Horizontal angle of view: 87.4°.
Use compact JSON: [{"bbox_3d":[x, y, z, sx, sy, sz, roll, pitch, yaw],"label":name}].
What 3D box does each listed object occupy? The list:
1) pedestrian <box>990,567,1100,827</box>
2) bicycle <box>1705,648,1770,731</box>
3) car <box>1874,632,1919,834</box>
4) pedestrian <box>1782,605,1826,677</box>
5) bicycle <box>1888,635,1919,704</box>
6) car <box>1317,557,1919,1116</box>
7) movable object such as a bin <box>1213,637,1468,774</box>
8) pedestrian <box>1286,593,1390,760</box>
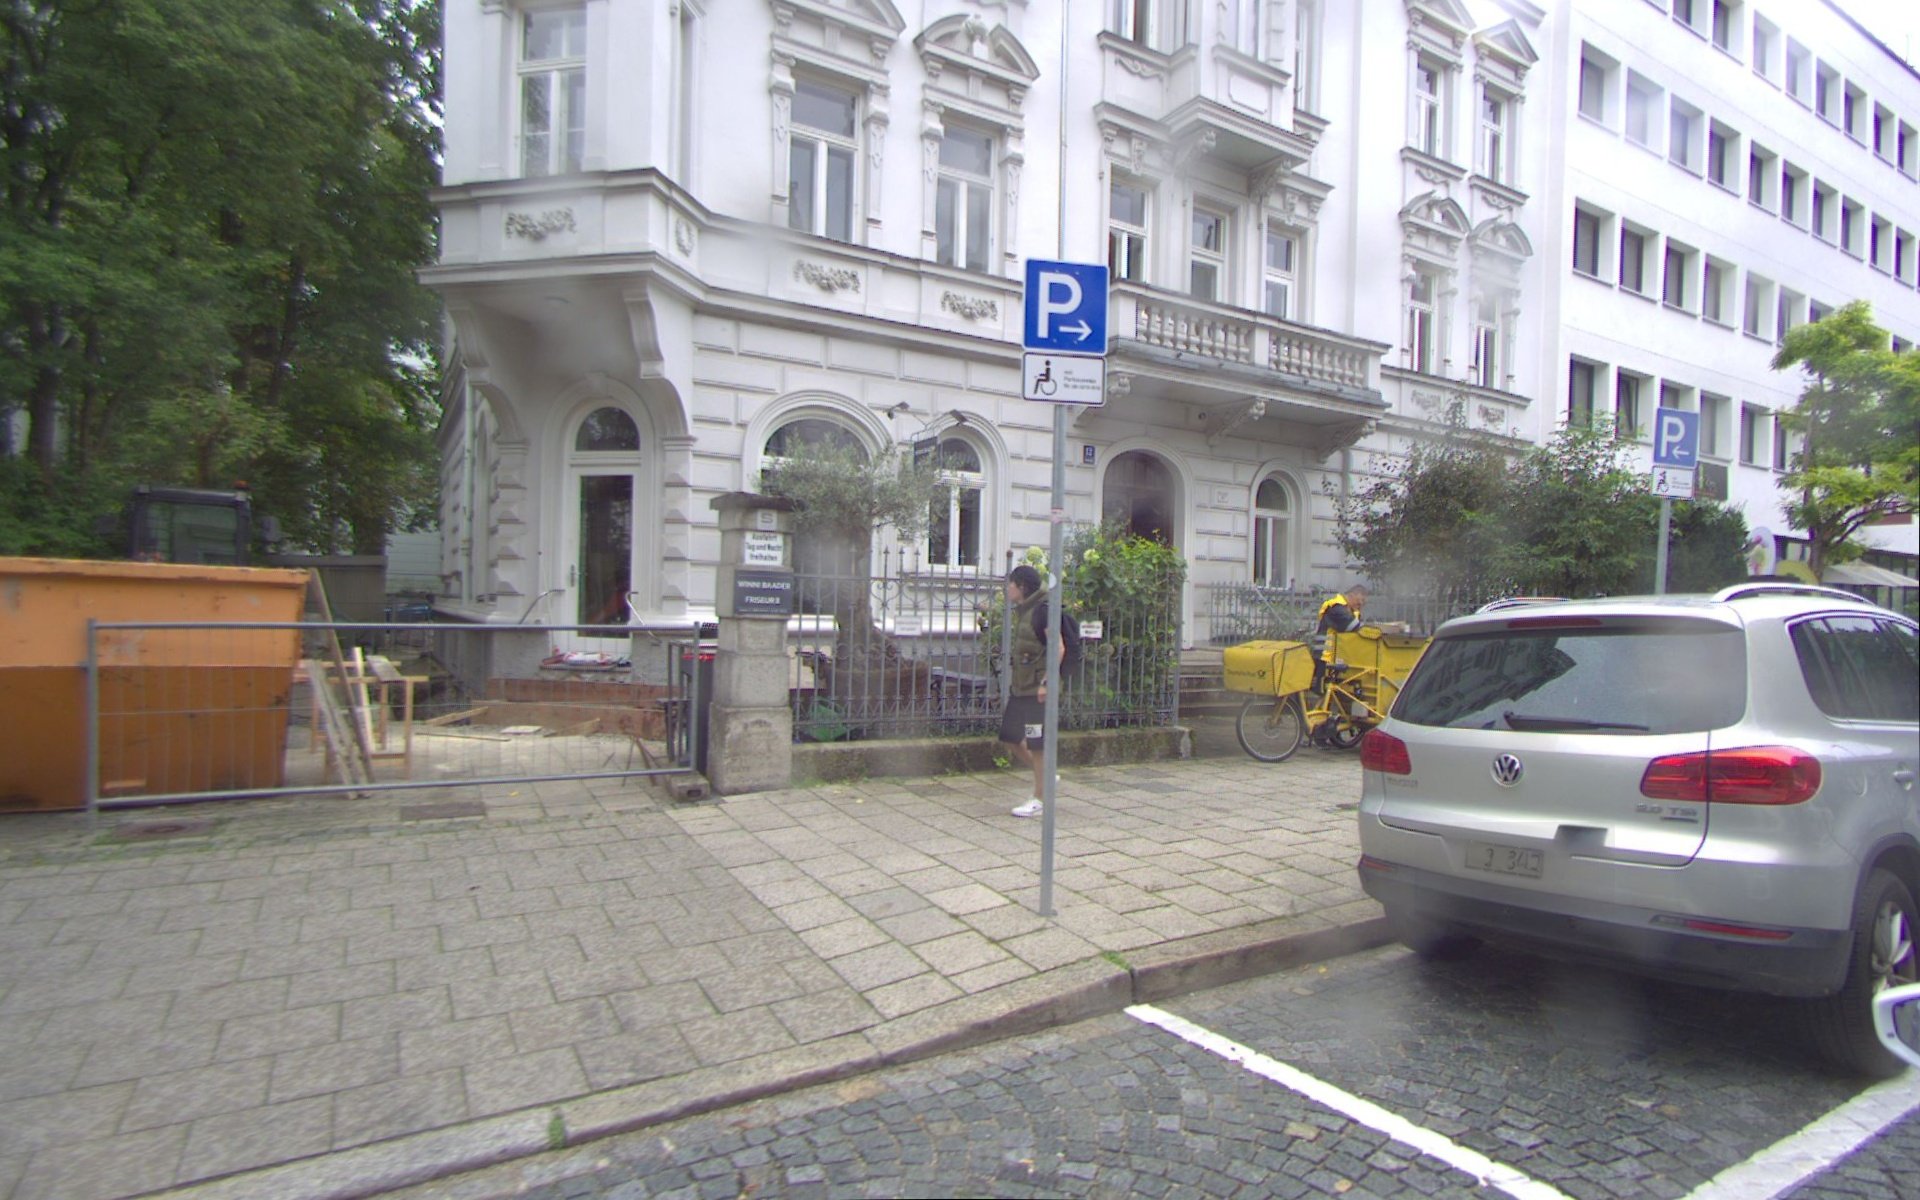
[{"bbox_3d":[0.554,0.623,6.767,0.655,1.649,0.667,2,0,1],"label":"pedestrian"},{"bbox_3d":[11.278,1.273,14.561,1.669,1.093,0.255,0,1,-35],"label":"bicycle"},{"bbox_3d":[8.656,0.998,7.611,3.775,1.412,1.622,2,0,-33],"label":"car"},{"bbox_3d":[20.222,0.968,24.063,0.773,1.683,0.553,-1,1,-29],"label":"pedestrian"},{"bbox_3d":[17.482,1.254,18.225,1.887,1.190,0.359,2,0,-29],"label":"bicycle"},{"bbox_3d":[3.679,0.722,4.670,4.024,1.593,1.680,2,0,-33],"label":"car"},{"bbox_3d":[3.708,0.982,9.705,2.617,1.181,0.640,2,0,-25],"label":"movable object such as a bin"},{"bbox_3d":[3.952,0.778,10.510,0.810,1.669,0.574,2,0,-24],"label":"pedestrian"}]
